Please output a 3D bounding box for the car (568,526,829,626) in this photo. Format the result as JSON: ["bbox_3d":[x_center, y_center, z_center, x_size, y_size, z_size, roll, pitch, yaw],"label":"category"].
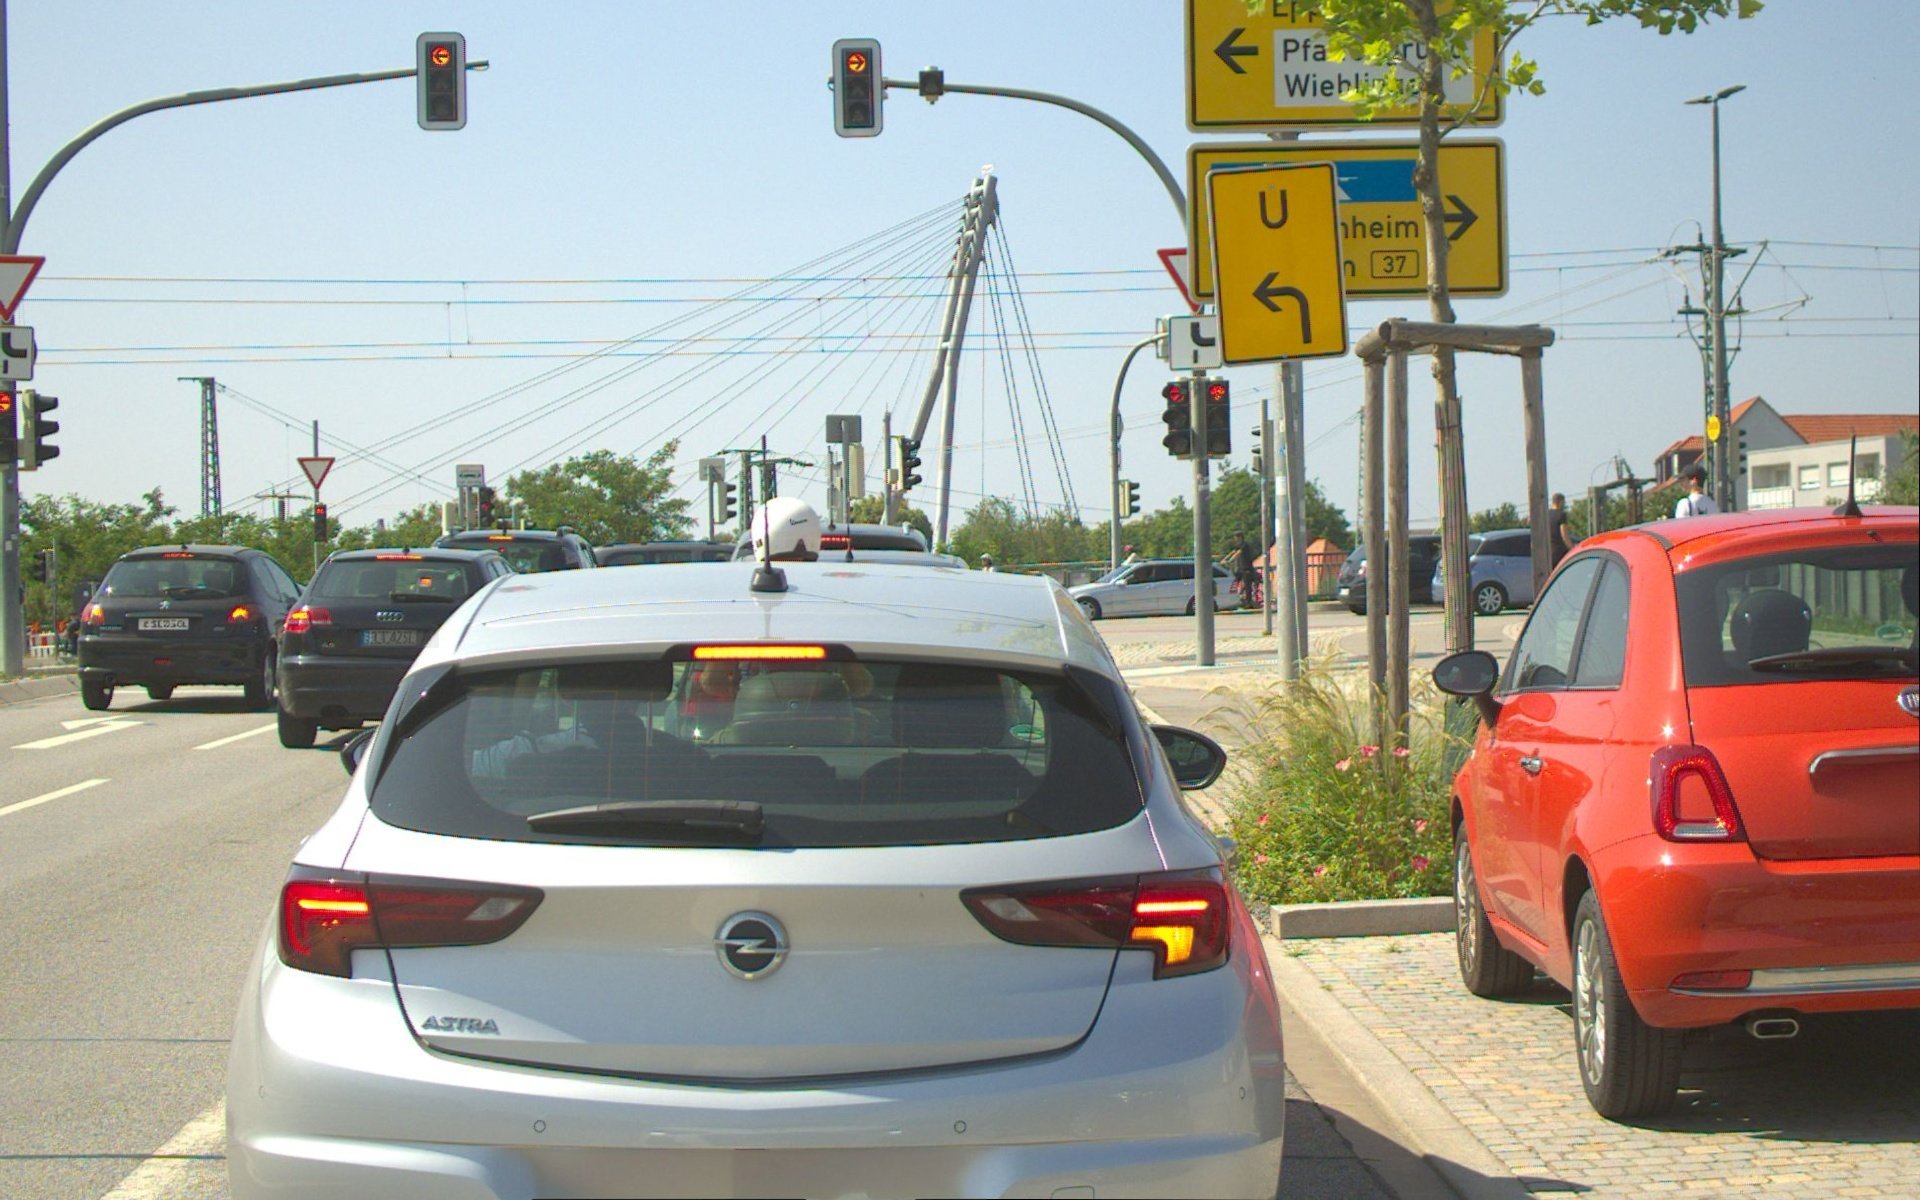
[{"bbox_3d":[-4.783,-0.437,63.300,4.548,1.777,2.000,1,0,3],"label":"car"}]

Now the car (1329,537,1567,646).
[{"bbox_3d":[9.176,-0.165,64.774,3.986,2.007,2.001,0,0,-14],"label":"car"}]

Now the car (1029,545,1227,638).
[{"bbox_3d":[3.767,-0.194,77.432,3.986,2.007,2.001,1,0,-16],"label":"car"}]

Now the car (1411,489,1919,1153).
[{"bbox_3d":[2.379,0.496,10.028,1.669,1.534,3.916,-2,0,2],"label":"car"}]

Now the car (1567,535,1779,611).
[{"bbox_3d":[16.158,-0.611,77.941,4.244,1.668,2.001,0,0,-18],"label":"car"}]

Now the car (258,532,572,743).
[{"bbox_3d":[-3.973,0.252,25.630,1.705,1.407,4.000,1,0,0],"label":"car"}]

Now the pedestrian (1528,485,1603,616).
[{"bbox_3d":[8.730,-0.707,49.571,0.740,1.857,0.753,1,0,-45],"label":"pedestrian"}]

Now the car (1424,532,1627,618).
[{"bbox_3d":[9.966,-0.436,60.694,3.143,1.434,1.586,1,0,-13],"label":"car"}]

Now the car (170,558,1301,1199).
[{"bbox_3d":[-0.381,0.673,7.292,1.690,1.514,4.271,0,1,-1],"label":"car"}]

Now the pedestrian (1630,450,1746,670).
[{"bbox_3d":[6.170,-0.330,29.158,0.758,1.823,0.885,1,0,-1],"label":"pedestrian"}]

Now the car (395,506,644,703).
[{"bbox_3d":[-4.012,0.032,31.892,1.803,1.616,3.917,-3,0,-1],"label":"car"}]

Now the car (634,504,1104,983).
[{"bbox_3d":[-0.366,0.506,14.096,1.634,1.668,3.745,1,0,-1],"label":"car"}]

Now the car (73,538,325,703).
[{"bbox_3d":[-6.784,0.170,30.926,1.587,1.390,3.340,0,0,-1],"label":"car"}]
